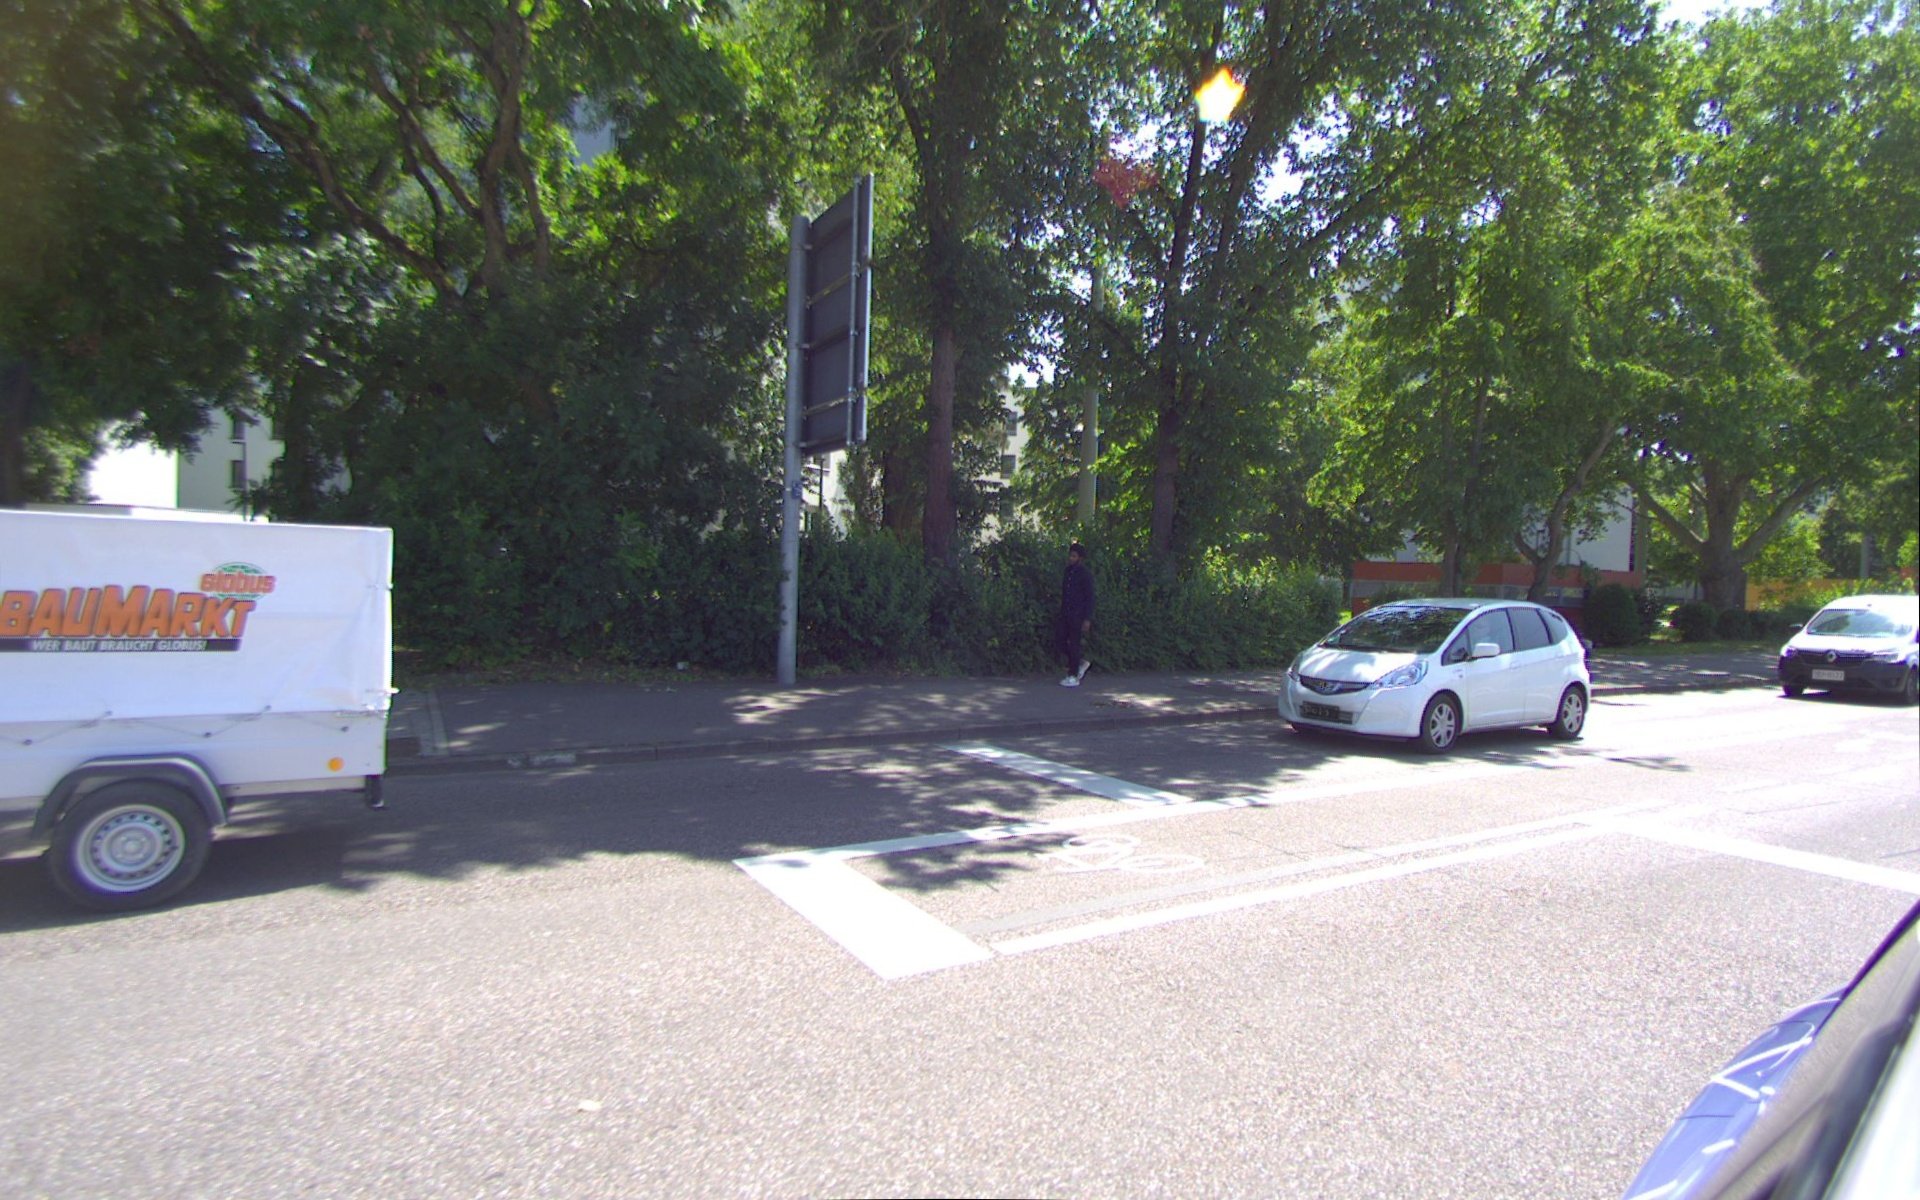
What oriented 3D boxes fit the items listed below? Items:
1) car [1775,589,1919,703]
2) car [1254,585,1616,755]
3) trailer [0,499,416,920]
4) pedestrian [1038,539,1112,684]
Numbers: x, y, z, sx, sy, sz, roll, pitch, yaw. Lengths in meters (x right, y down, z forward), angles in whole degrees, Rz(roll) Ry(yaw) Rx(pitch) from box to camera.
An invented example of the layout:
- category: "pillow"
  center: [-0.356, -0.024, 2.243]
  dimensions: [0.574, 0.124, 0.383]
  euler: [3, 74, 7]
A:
- category: "car"
  center: [16.276, 0.716, 17.704]
  dimensions: [4.257, 1.739, 1.813]
  euler: [0, 1, -32]
- category: "car"
  center: [5.198, 0.647, 10.971]
  dimensions: [3.821, 1.523, 1.733]
  euler: [1, 1, -32]
- category: "trailer"
  center: [-4.185, 0.416, 4.625]
  dimensions: [2.880, 1.675, 1.410]
  euler: [1, 1, -33]
- category: "pedestrian"
  center: [1.518, 0.133, 13.389]
  dimensions: [0.666, 1.857, 0.608]
  euler: [1, 3, -34]
